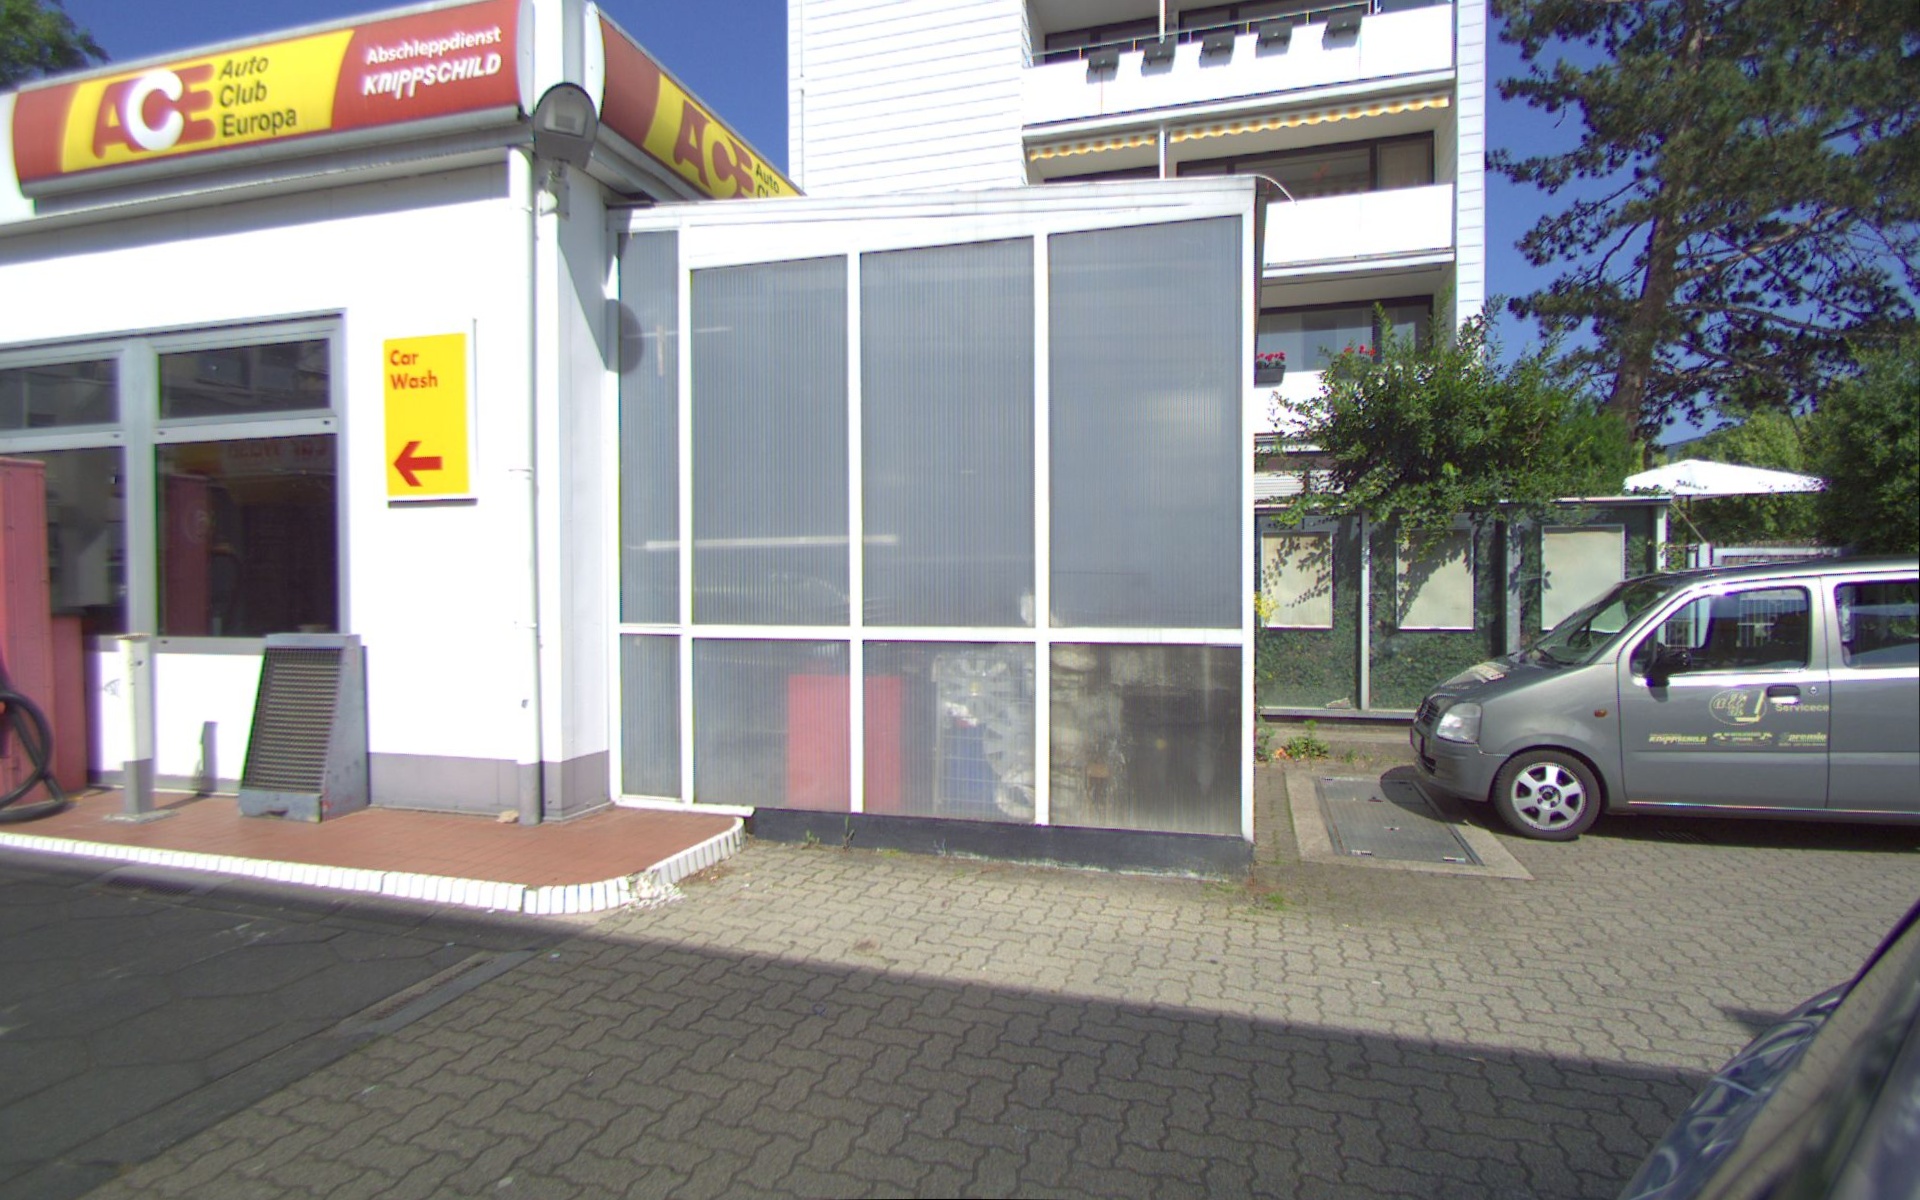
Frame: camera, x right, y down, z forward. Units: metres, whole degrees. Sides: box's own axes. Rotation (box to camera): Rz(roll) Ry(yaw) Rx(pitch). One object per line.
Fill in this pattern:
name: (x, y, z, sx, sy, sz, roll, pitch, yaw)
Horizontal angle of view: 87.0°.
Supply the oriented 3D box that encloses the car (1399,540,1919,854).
car: (4.779, 0.496, 6.240, 3.615, 1.637, 1.682, -1, 1, 19)
